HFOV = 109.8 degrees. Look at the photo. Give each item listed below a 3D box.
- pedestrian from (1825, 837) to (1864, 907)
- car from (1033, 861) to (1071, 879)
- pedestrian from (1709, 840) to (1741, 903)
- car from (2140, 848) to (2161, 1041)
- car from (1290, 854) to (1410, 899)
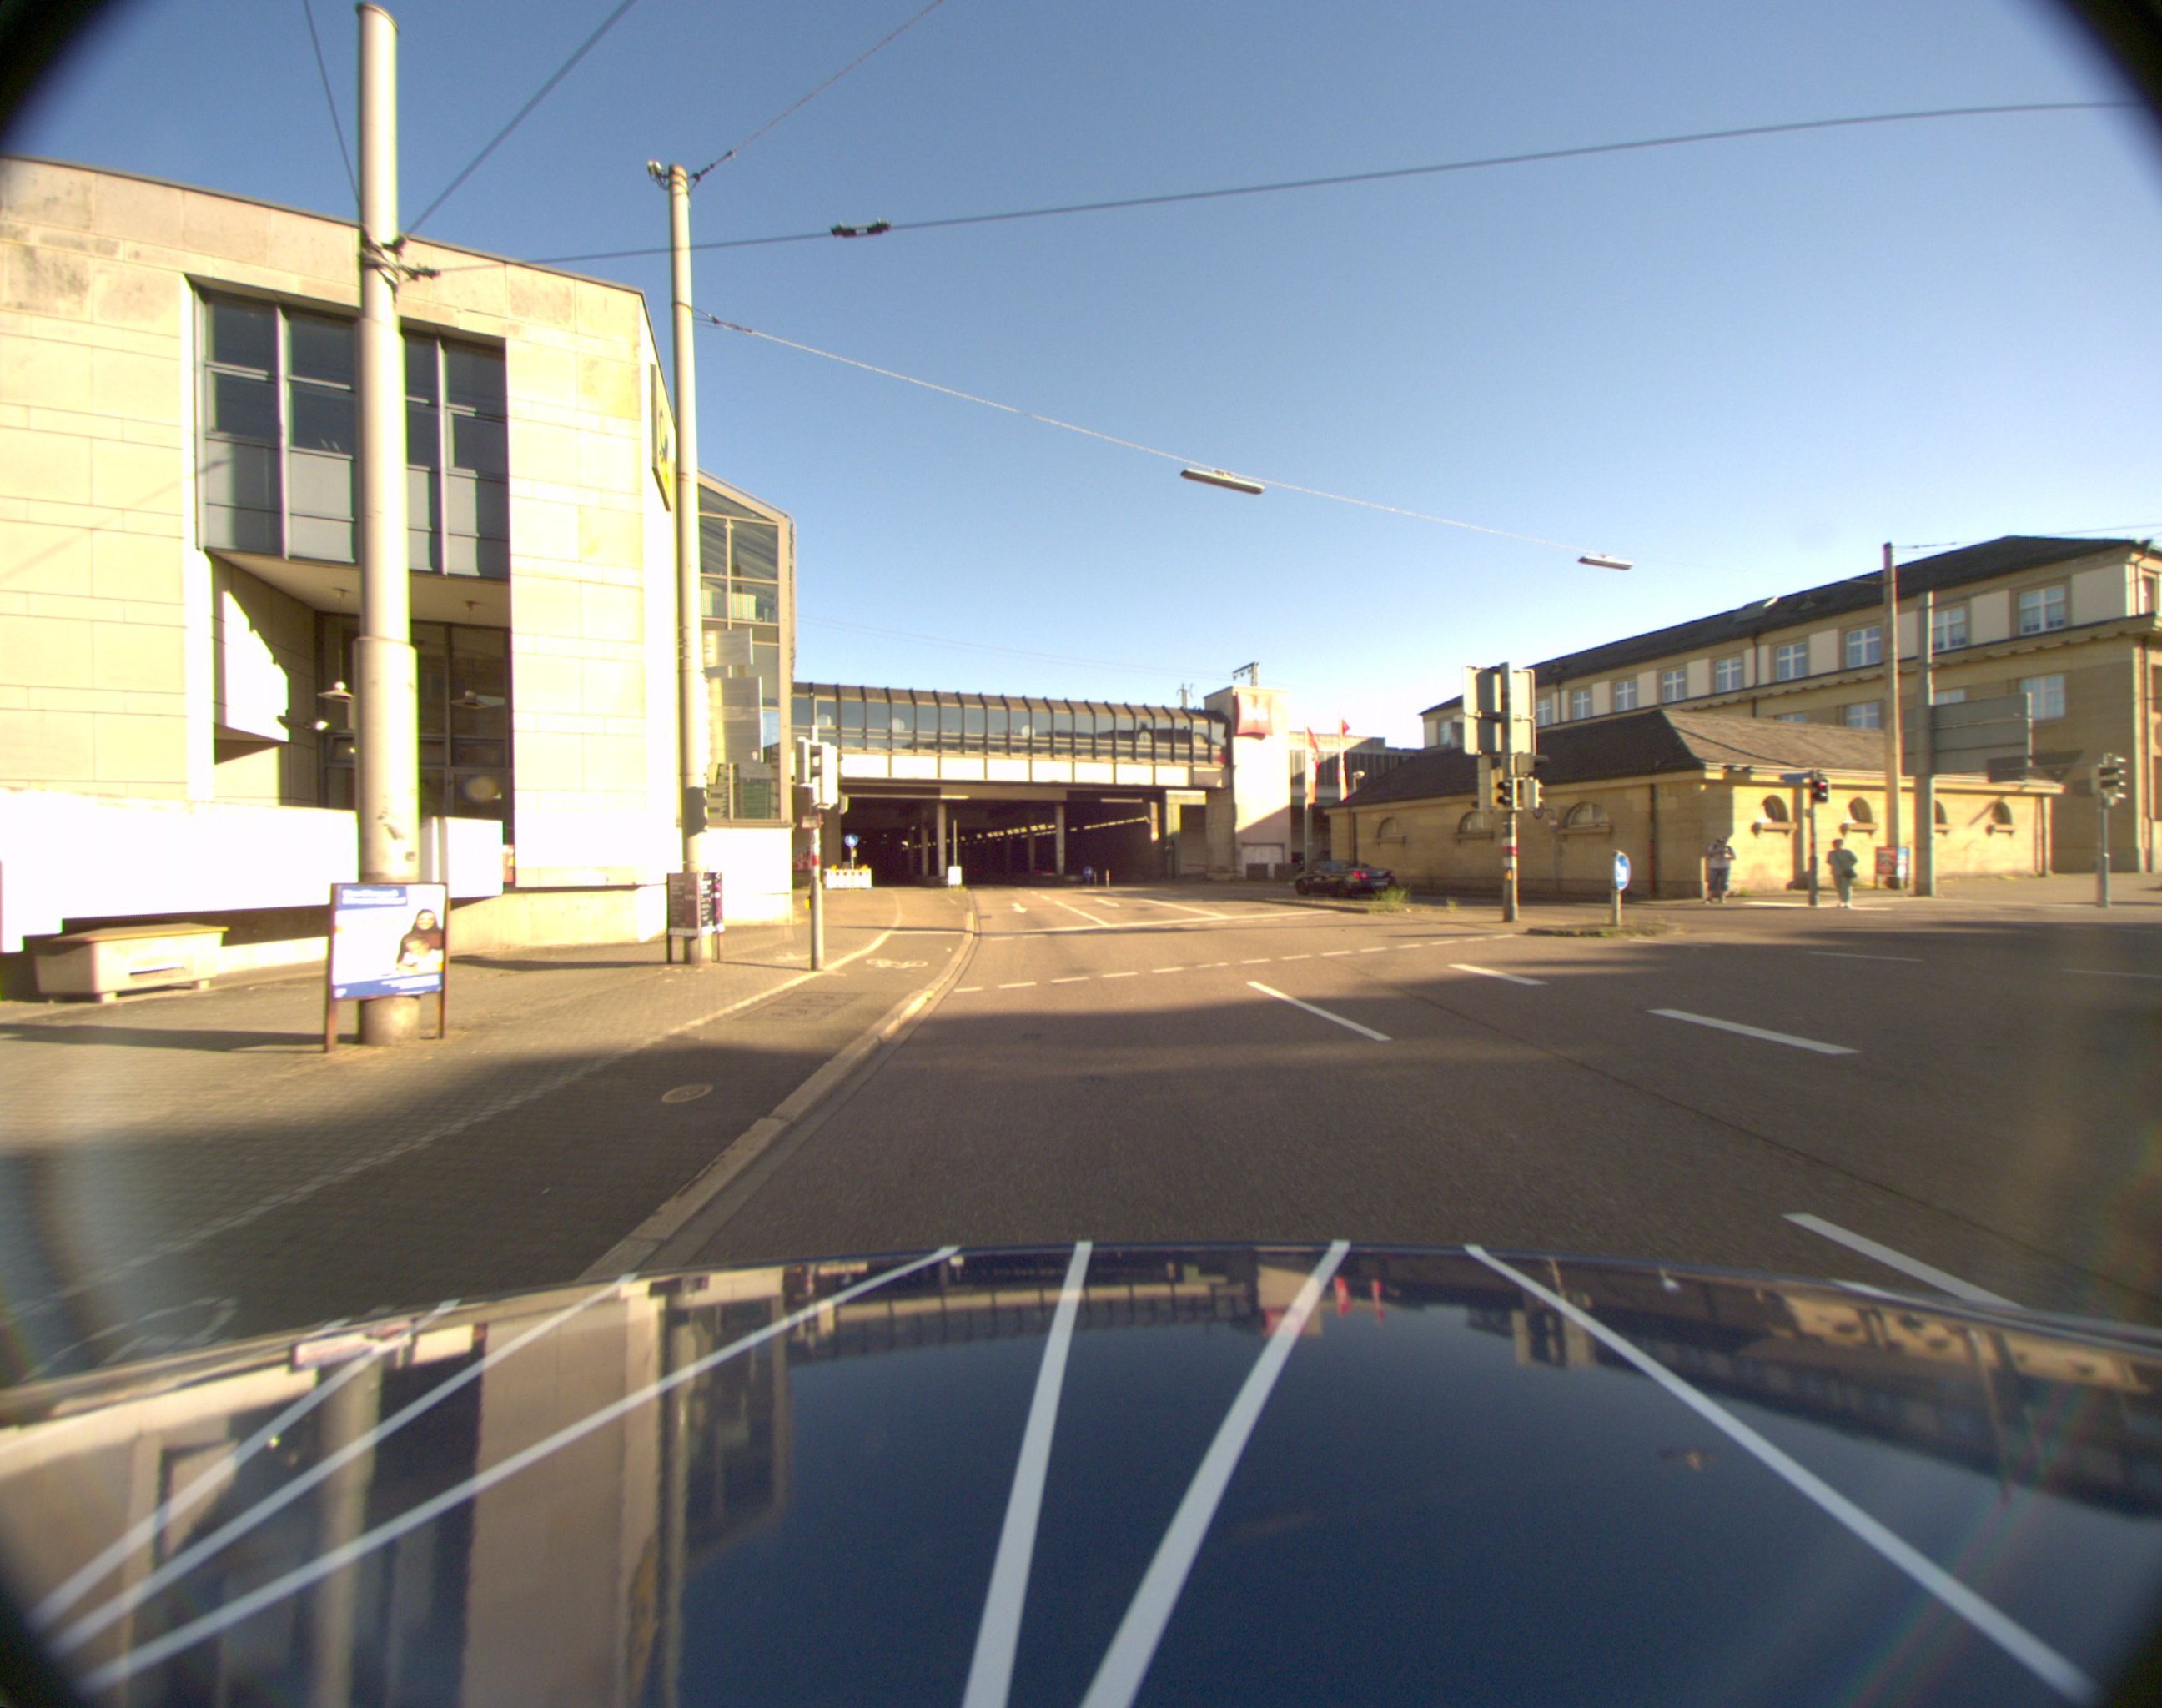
[{"bbox_3d":[18.295,0.419,18.210,0.624,1.630,0.490,-1,1,42],"label":"pedestrian"},{"bbox_3d":[-2.372,1.296,61.636,1.818,1.382,4.240,-1,0,-21],"label":"car"},{"bbox_3d":[17.076,0.453,20.139,0.624,1.630,0.516,-1,1,42],"label":"pedestrian"},{"bbox_3d":[9.591,0.626,4.263,1.795,1.385,4.096,-1,0,-30],"label":"car"},{"bbox_3d":[9.557,0.760,27.372,1.831,1.417,4.321,-1,0,-17],"label":"car"}]
